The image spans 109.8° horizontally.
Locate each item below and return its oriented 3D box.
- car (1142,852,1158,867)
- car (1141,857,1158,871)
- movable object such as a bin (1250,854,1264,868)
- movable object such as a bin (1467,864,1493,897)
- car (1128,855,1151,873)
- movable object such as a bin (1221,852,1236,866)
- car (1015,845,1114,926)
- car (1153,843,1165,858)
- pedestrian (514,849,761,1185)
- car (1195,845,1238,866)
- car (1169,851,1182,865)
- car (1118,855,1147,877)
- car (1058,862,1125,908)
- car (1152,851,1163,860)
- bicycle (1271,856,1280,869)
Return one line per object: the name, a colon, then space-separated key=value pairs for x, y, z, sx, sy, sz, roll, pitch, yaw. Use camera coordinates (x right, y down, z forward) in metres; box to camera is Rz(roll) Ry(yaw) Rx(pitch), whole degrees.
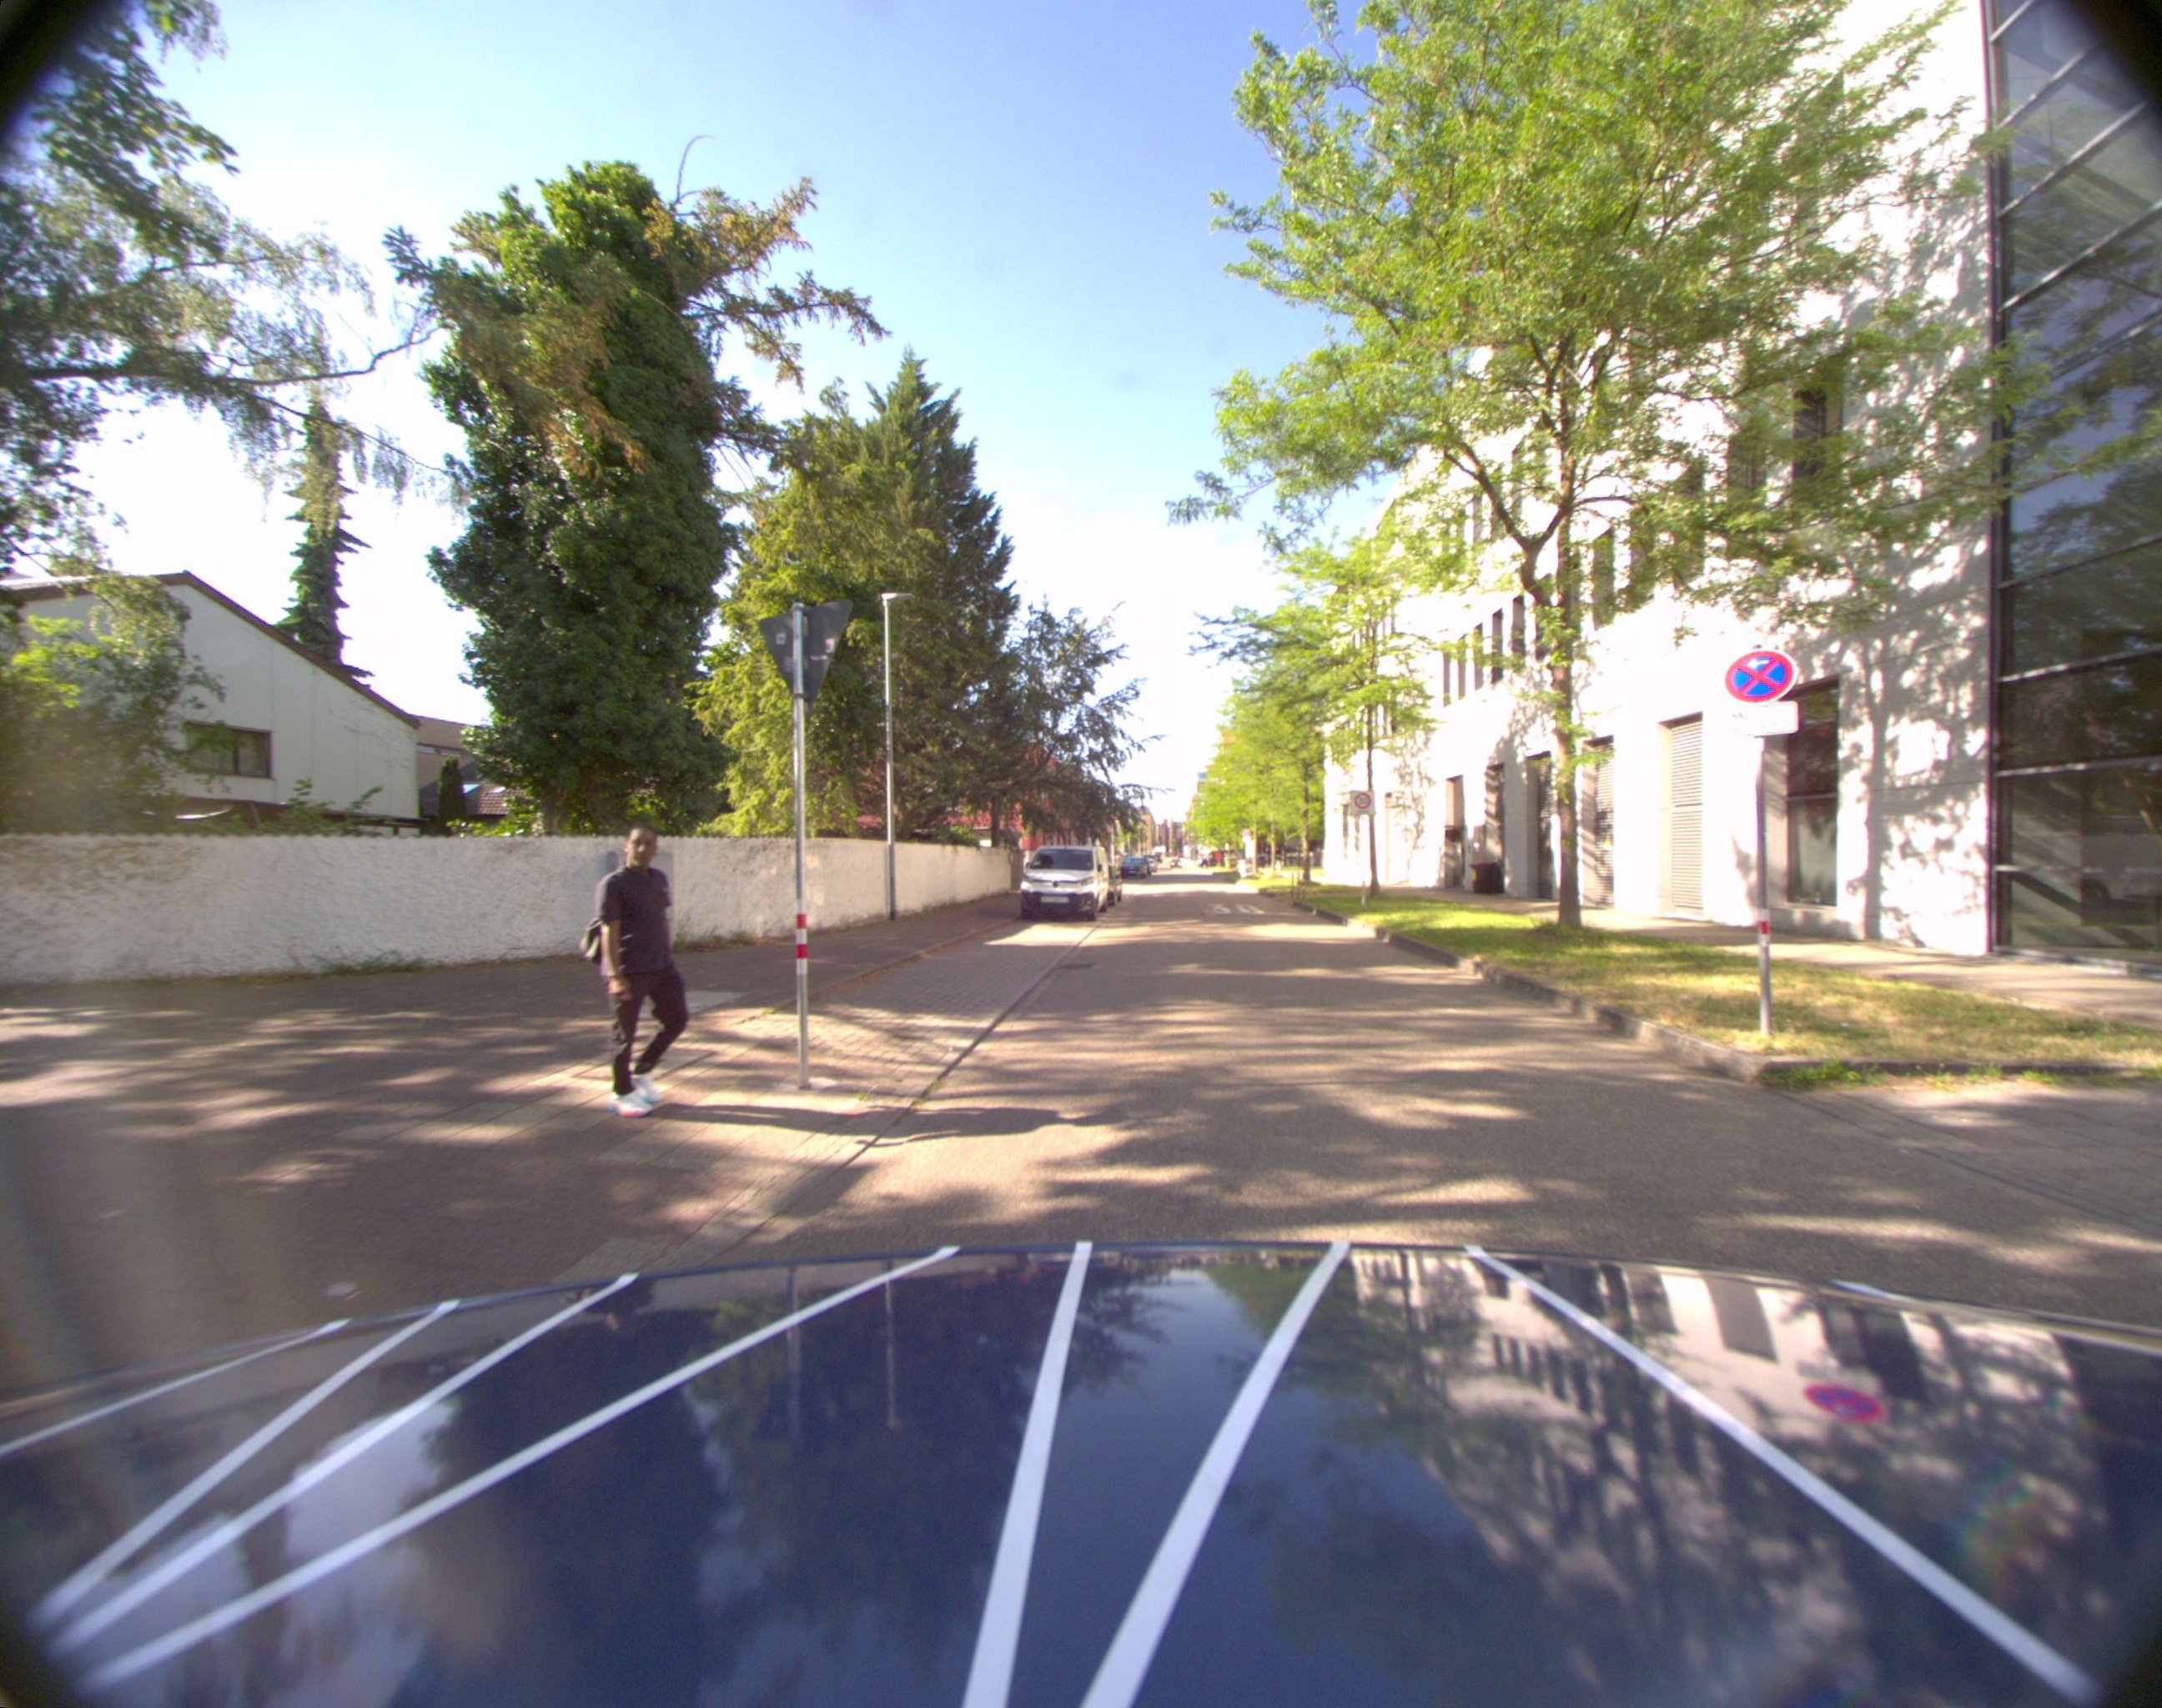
car: x=9.124 y=0.726 z=100.524 sx=1.902 sy=1.974 sz=4.375 roll=0 pitch=0 yaw=7
car: x=7.655 y=1.074 z=84.709 sx=1.698 sy=1.447 sz=3.892 roll=0 pitch=0 yaw=7
movable object such as a bin: x=20.104 y=0.748 z=86.906 sx=1.521 sy=1.559 sz=1.348 roll=-2 pitch=0 yaw=12
movable object such as a bin: x=13.122 y=0.870 z=24.997 sx=0.594 sy=1.034 sz=0.543 roll=-2 pitch=0 yaw=5
car: x=5.462 y=0.924 z=70.360 sx=1.877 sy=1.620 sz=4.409 roll=0 pitch=0 yaw=7
movable object such as a bin: x=18.129 y=0.613 z=93.437 sx=1.523 sy=1.559 sz=1.346 roll=-2 pitch=0 yaw=-3
car: x=-0.290 y=0.732 z=20.587 sx=1.902 sy=1.903 sz=5.151 roll=0 pitch=0 yaw=7
car: x=20.631 y=-0.879 z=201.506 sx=2.911 sy=3.920 sz=6.329 roll=0 pitch=0 yaw=8
pedestrian: x=-2.529 y=0.838 z=4.400 sx=0.805 sy=1.675 sz=0.840 roll=4 pitch=1 yaw=20
car: x=18.230 y=0.256 z=102.681 sx=5.487 sy=2.526 sz=1.987 roll=-3 pitch=0 yaw=6
car: x=13.797 y=0.618 z=111.020 sx=1.902 sy=1.974 sz=4.375 roll=0 pitch=0 yaw=7
car: x=4.040 y=0.923 z=59.084 sx=1.902 sy=1.620 sz=4.375 roll=0 pitch=0 yaw=7
car: x=0.461 y=1.021 z=26.468 sx=1.829 sy=1.415 sz=4.285 roll=0 pitch=0 yaw=7
car: x=14.264 y=0.263 z=141.945 sx=1.902 sy=1.585 sz=4.375 roll=0 pitch=0 yaw=7
bicycle: x=18.786 y=0.836 z=73.452 sx=0.602 sy=1.185 sz=1.728 roll=-2 pitch=0 yaw=7
